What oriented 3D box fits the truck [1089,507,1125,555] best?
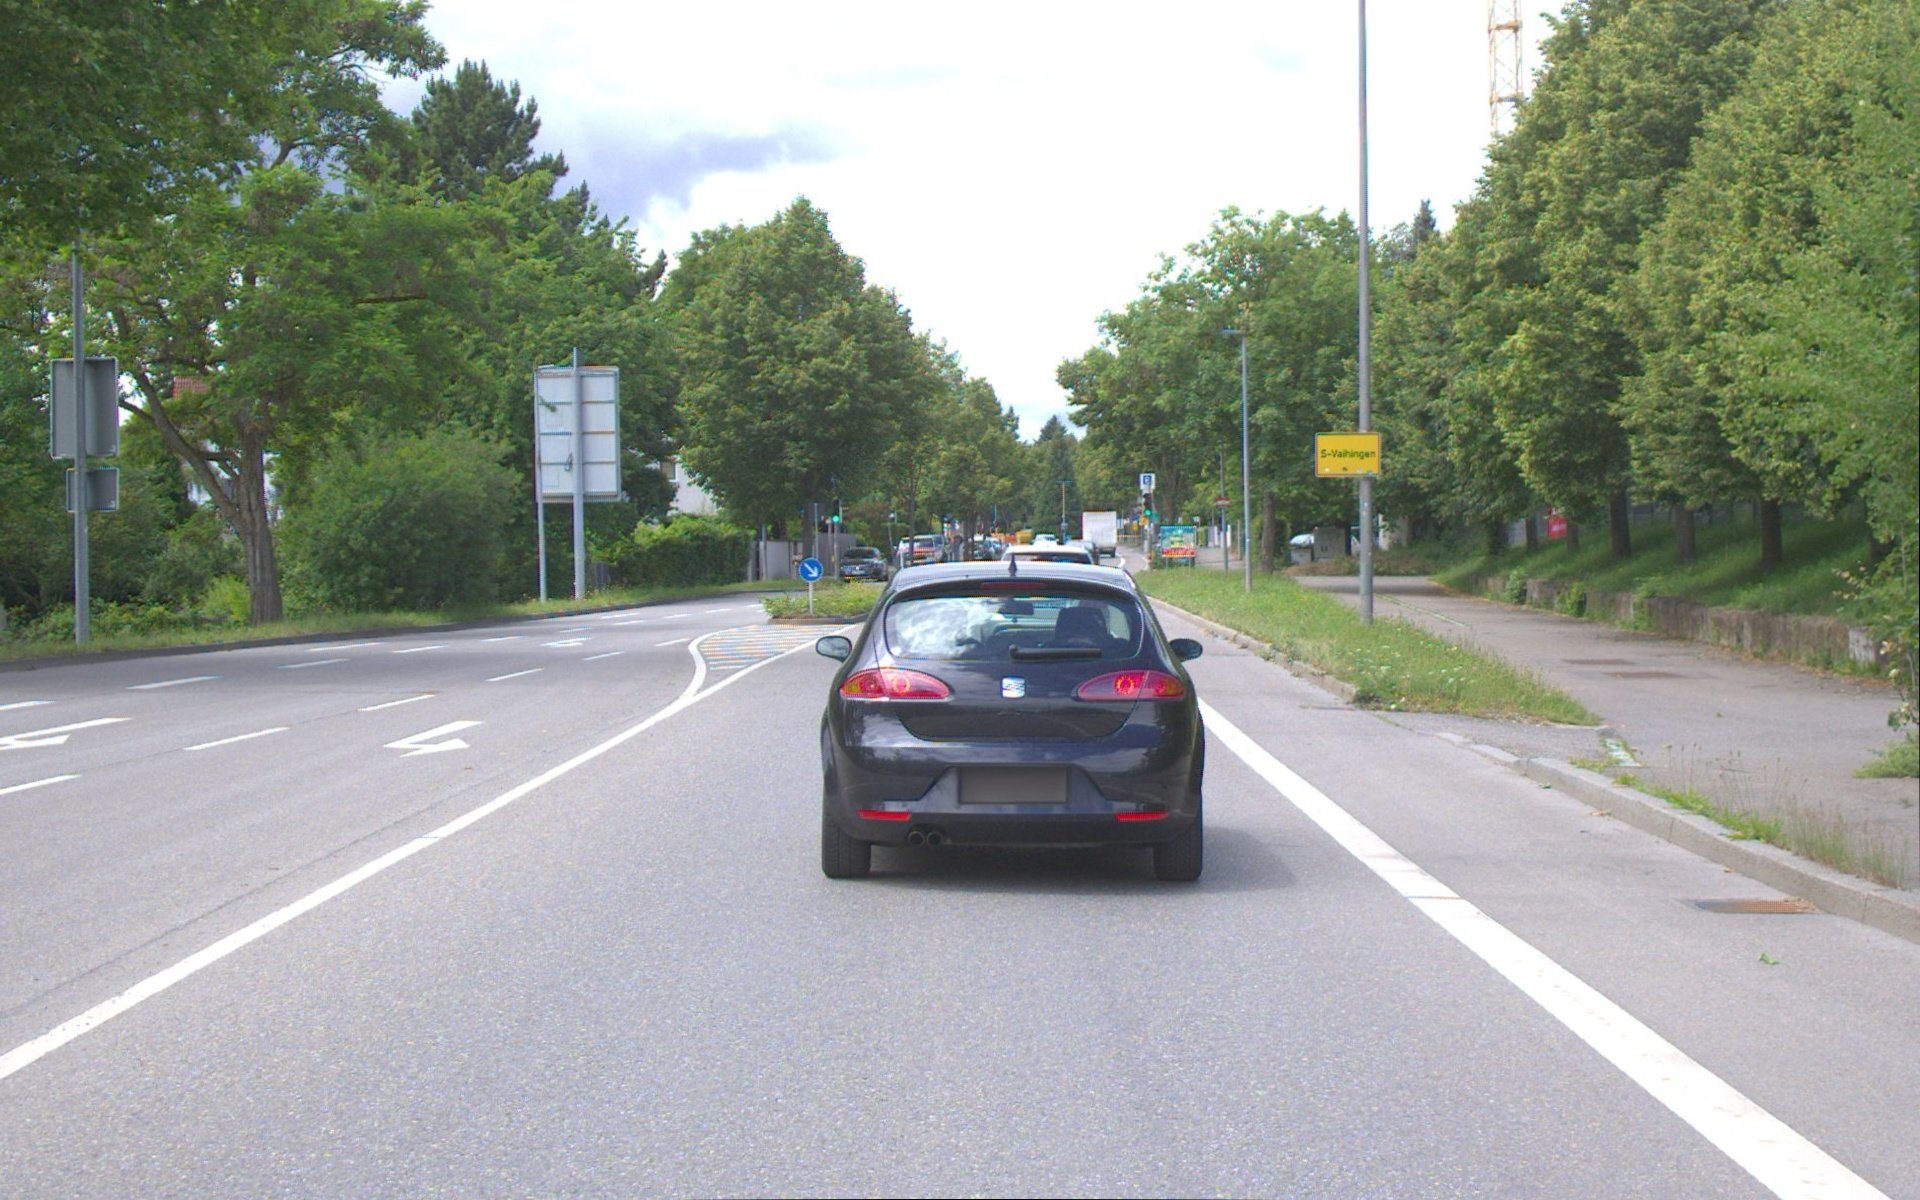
[{"bbox_3d":[9.820,-4.568,230.038,2.279,3.093,8.510,1,1,2],"label":"truck"}]

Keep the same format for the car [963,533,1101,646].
[{"bbox_3d":[1.037,-0.169,48.386,1.846,1.504,3.812,1,1,2],"label":"car"}]

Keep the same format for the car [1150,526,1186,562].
[{"bbox_3d":[10.118,-2.725,167.637,1.688,1.705,4.213,-1,1,3],"label":"car"}]

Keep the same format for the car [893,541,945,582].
[{"bbox_3d":[-2.002,-1.895,168.816,2.100,1.890,5.783,-2,1,3],"label":"car"}]

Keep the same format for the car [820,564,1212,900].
[{"bbox_3d":[0.232,0.546,16.636,1.663,1.396,3.812,1,1,0],"label":"car"}]

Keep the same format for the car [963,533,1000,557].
[{"bbox_3d":[1.417,-3.629,225.872,2.100,1.501,5.783,-2,1,3],"label":"car"}]

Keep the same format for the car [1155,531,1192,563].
[{"bbox_3d":[10.099,-2.508,162.519,1.688,1.485,3.355,-1,1,3],"label":"car"}]

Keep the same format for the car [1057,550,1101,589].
[{"bbox_3d":[5.352,-1.381,154.771,1.881,1.683,4.213,-1,1,3],"label":"car"}]

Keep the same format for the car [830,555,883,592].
[{"bbox_3d":[-4.188,-1.080,139.545,1.718,1.390,4.801,-2,1,3],"label":"car"}]
